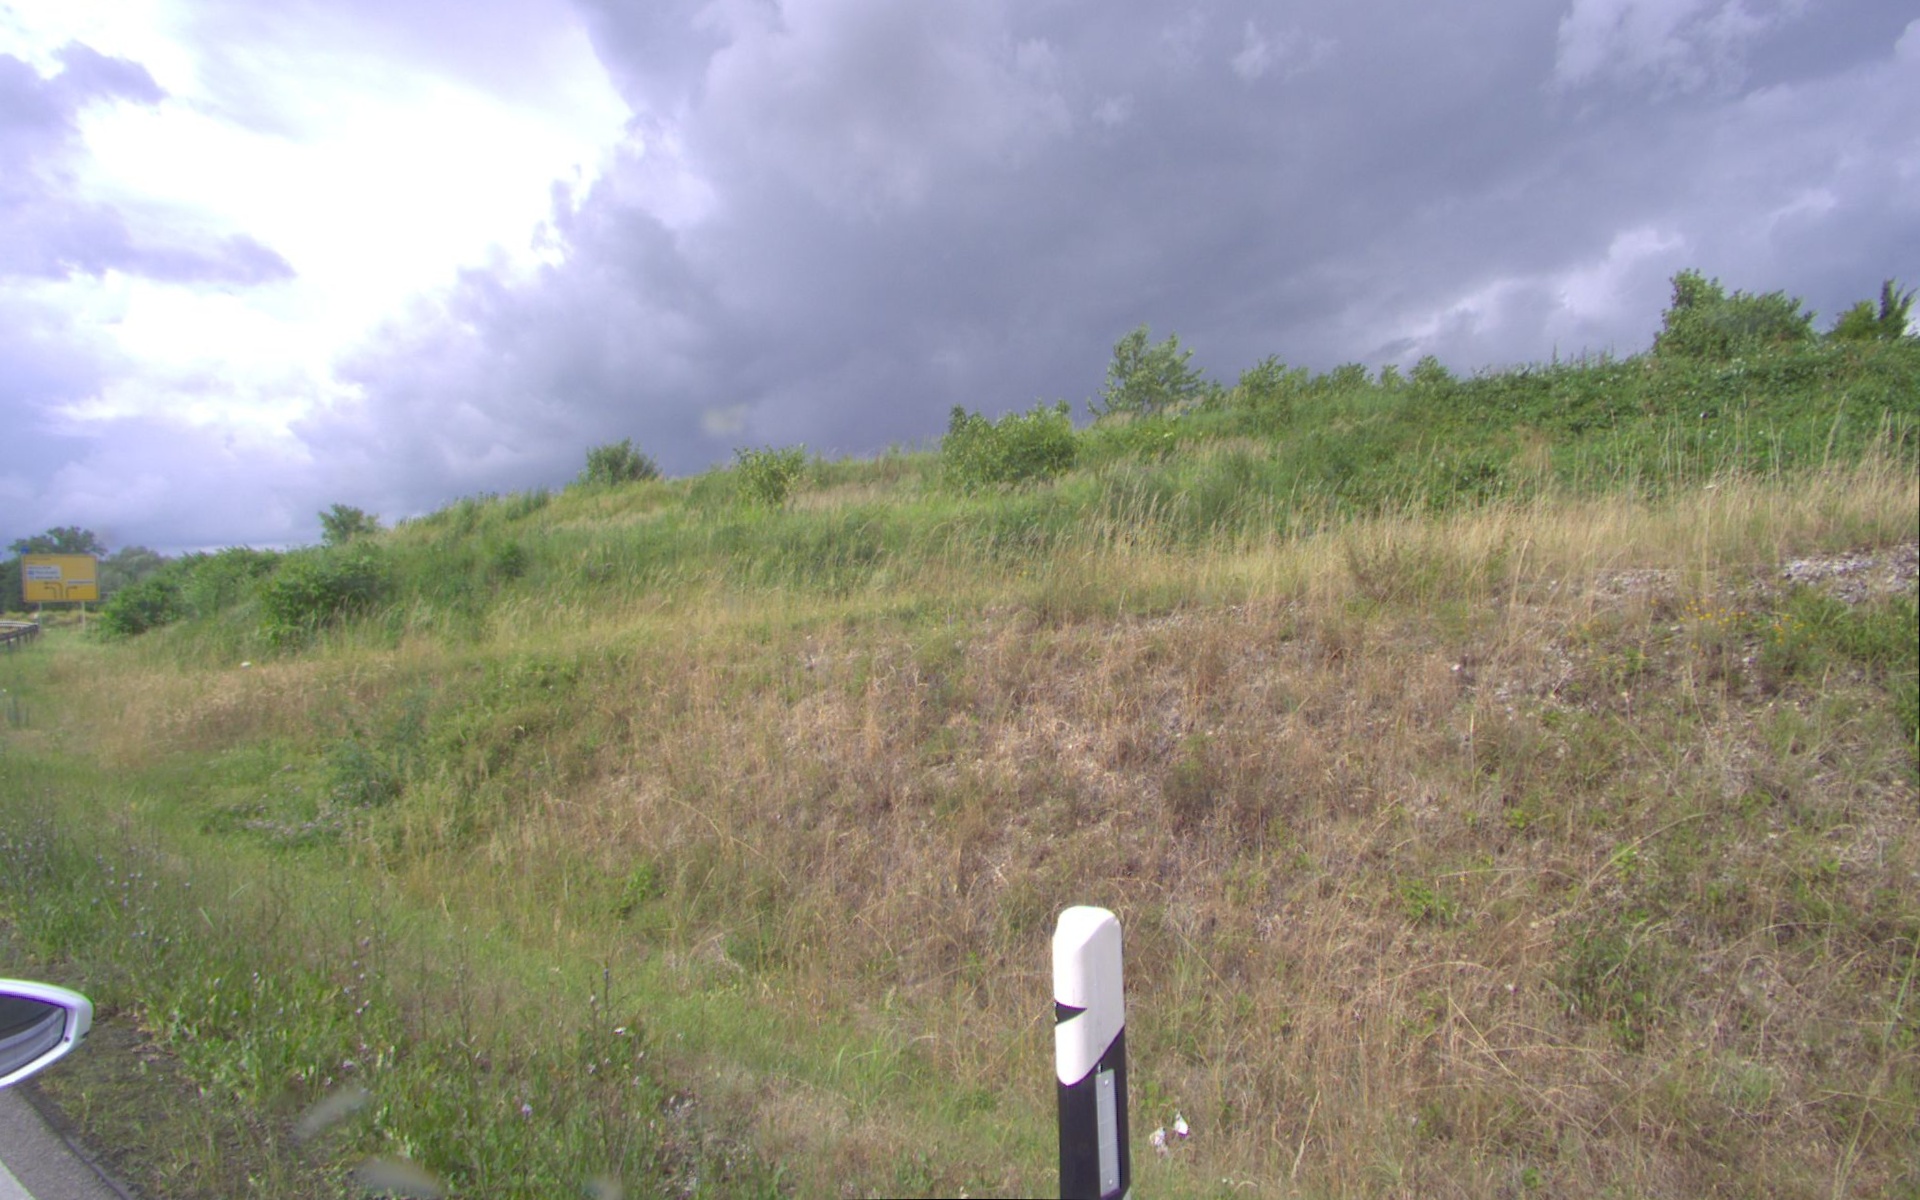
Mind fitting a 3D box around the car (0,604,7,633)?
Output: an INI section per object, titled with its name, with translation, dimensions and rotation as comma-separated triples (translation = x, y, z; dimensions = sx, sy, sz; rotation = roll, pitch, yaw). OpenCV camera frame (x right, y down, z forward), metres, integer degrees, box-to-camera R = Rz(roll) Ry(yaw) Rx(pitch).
[car]
translation = -66.081, 1.290, 67.767
dimensions = 4.448, 1.906, 2.083
rotation = -2, -2, 44
